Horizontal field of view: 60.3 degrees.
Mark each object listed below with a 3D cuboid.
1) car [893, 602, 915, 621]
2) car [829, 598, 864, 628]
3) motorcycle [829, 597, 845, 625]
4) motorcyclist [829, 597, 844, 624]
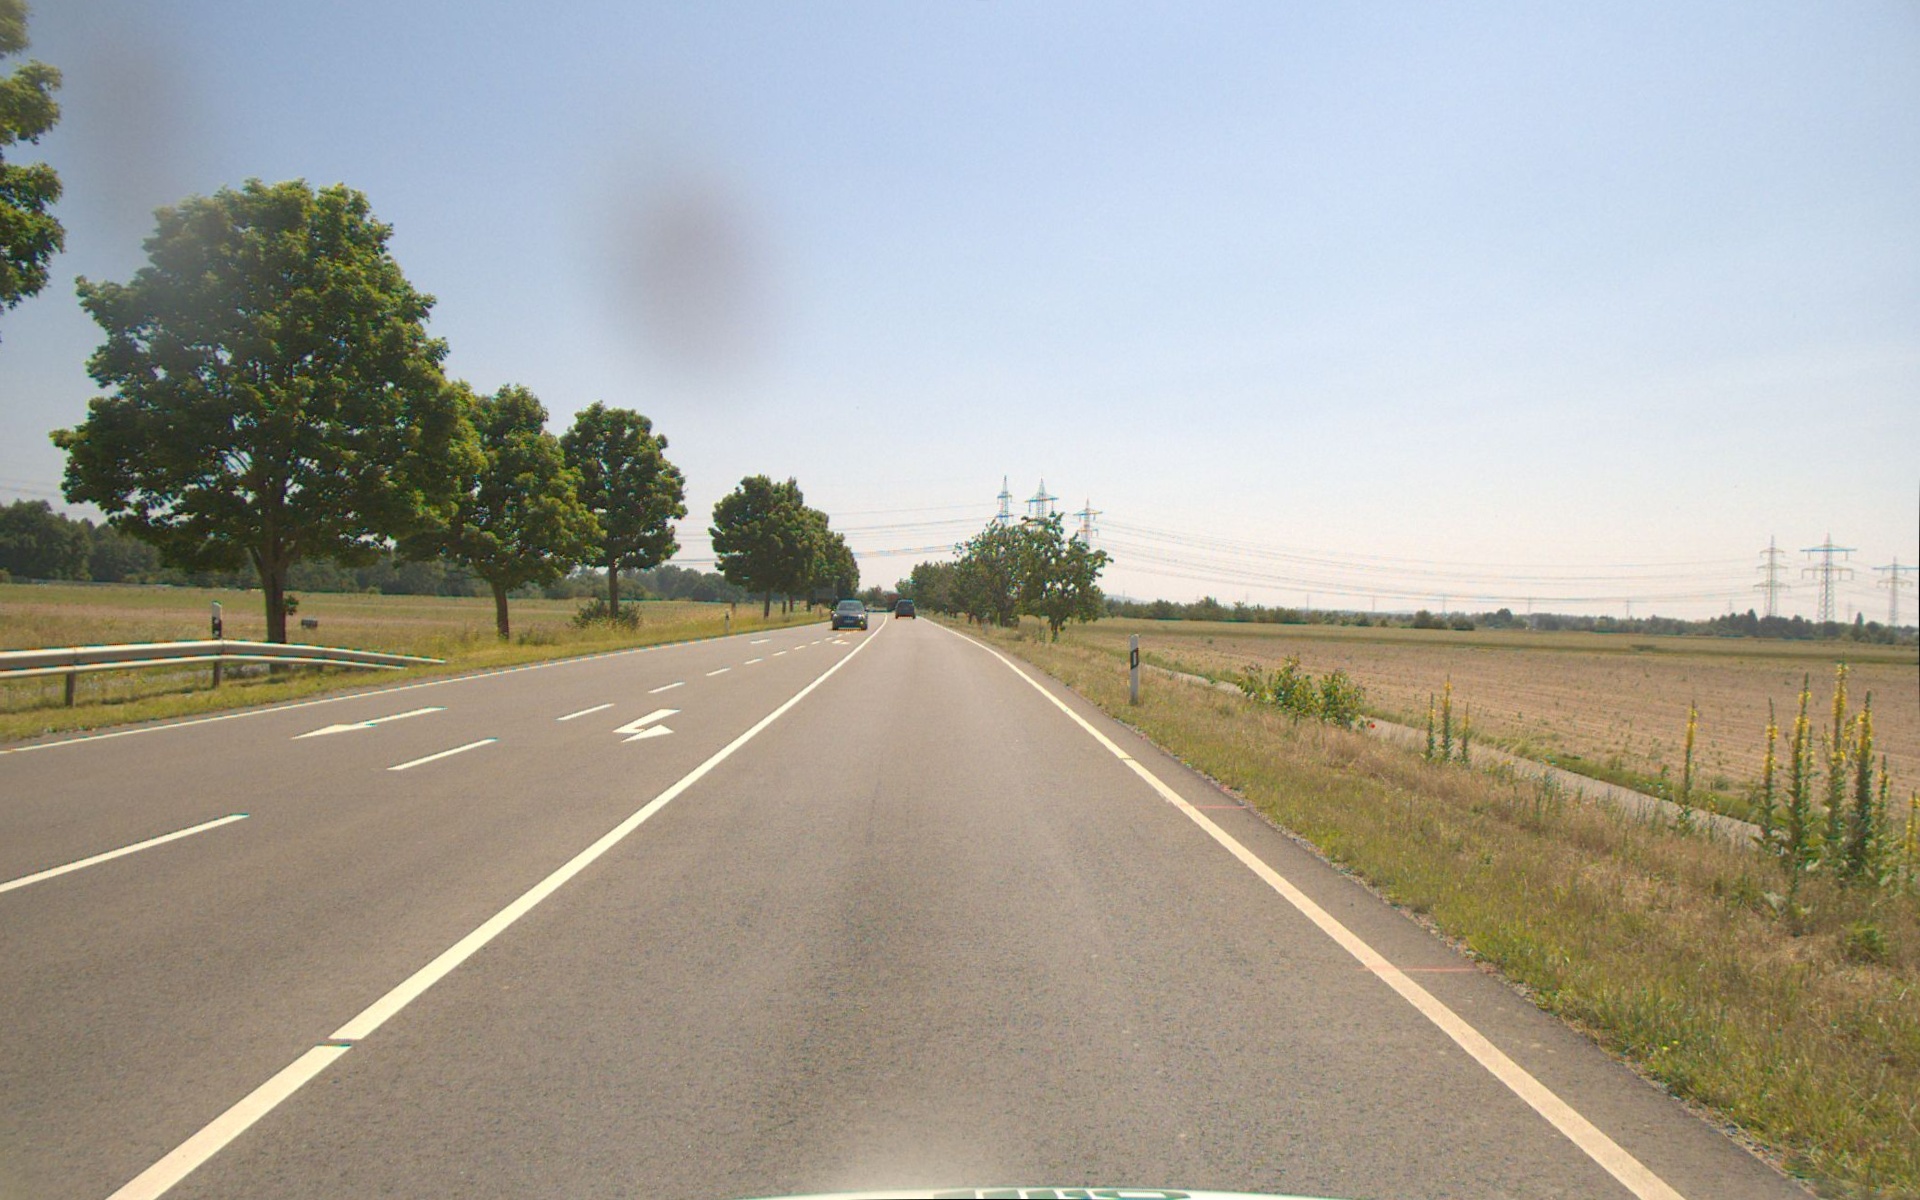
[{"bbox_3d":[-5.170,1.033,151.908,1.847,1.544,4.037,4,0,-3],"label":"car"},{"bbox_3d":[-5.889,0.667,85.993,1.704,1.499,4.616,1,0,-3],"label":"car"},{"bbox_3d":[-7.947,0.691,106.834,0.870,1.774,2.444,1,0,-1],"label":"motorcycle"},{"bbox_3d":[-7.950,0.672,106.698,0.836,1.751,1.088,0,0,1],"label":"motorcyclist"}]
